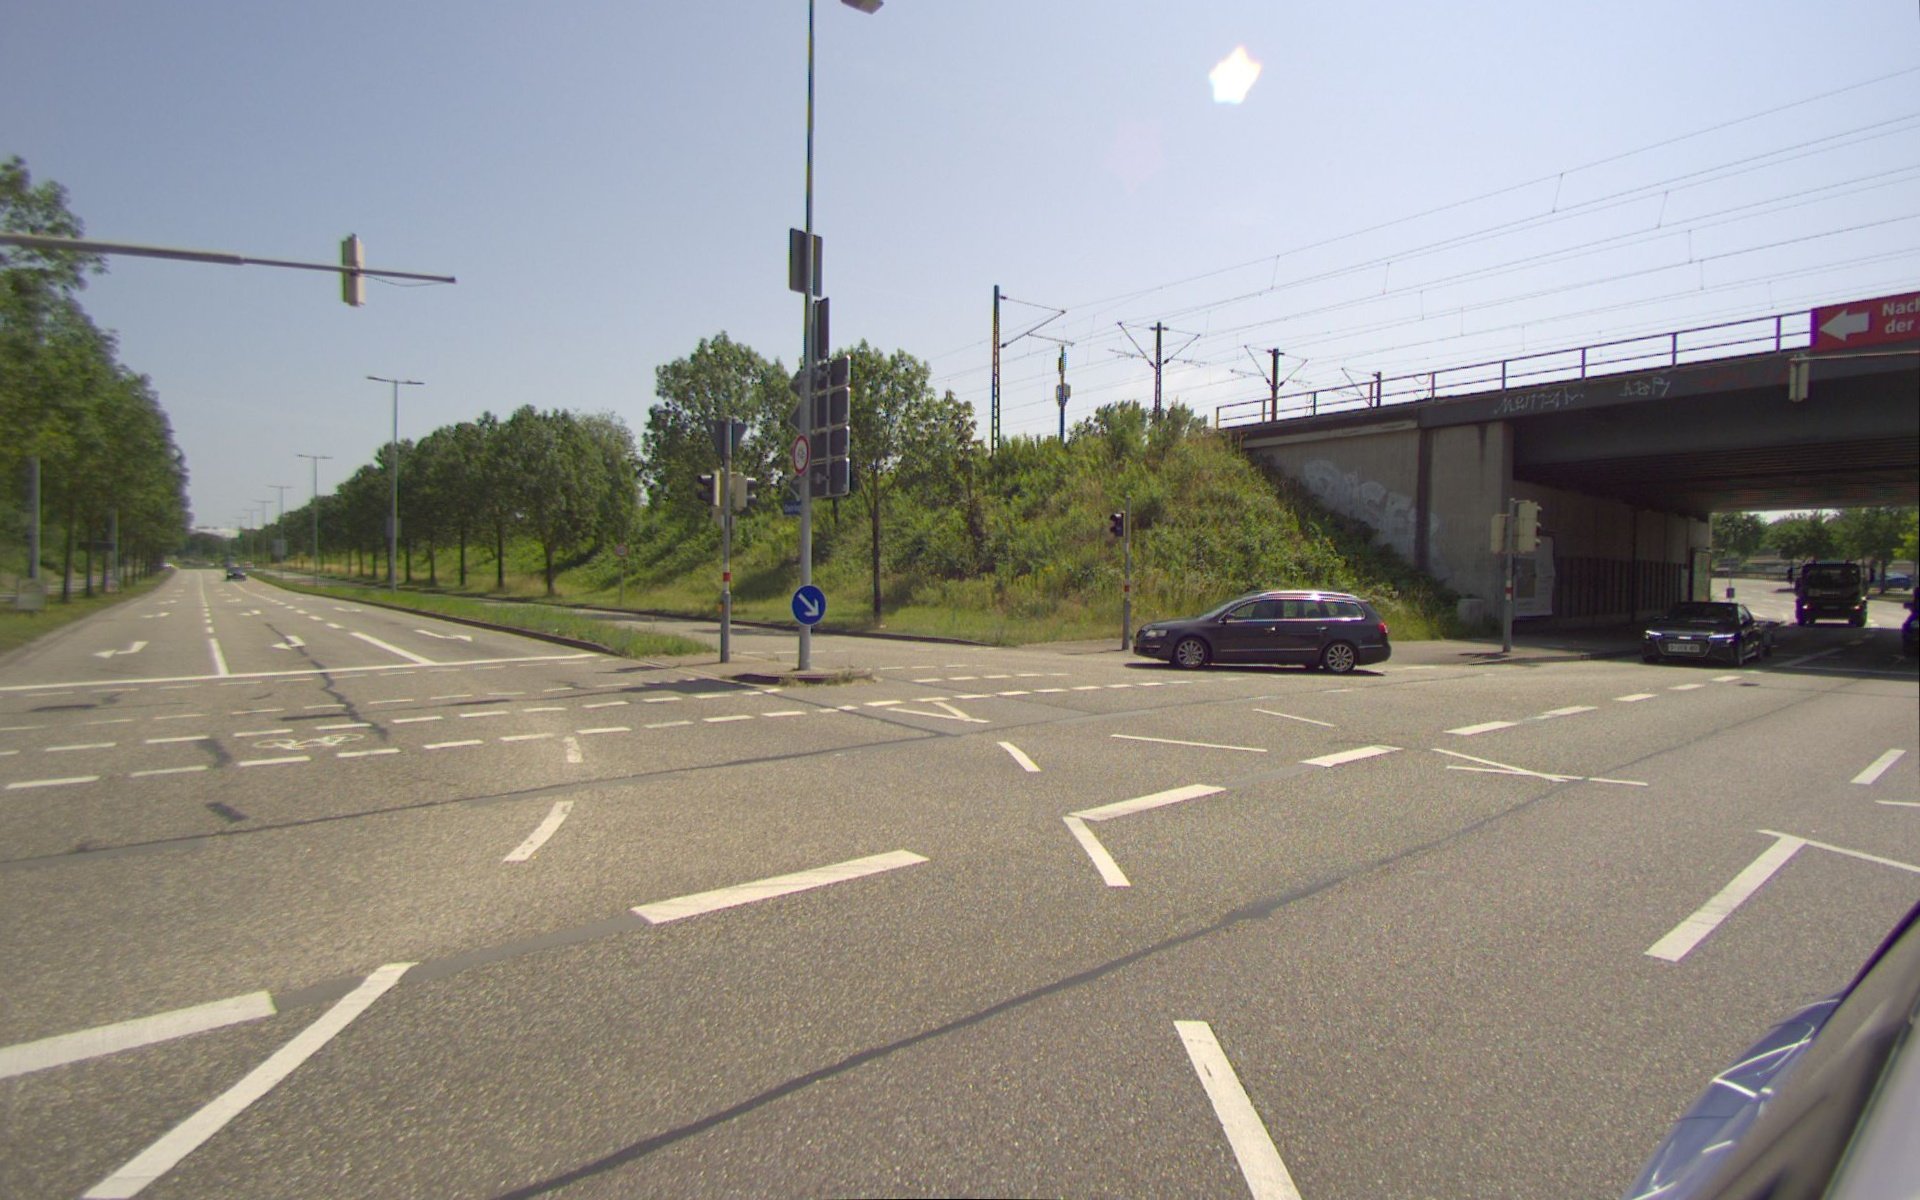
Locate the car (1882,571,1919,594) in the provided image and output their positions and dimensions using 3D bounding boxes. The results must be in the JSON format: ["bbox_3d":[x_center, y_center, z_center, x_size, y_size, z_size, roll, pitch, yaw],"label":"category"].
[{"bbox_3d":[87.975,-1.633,94.286,1.981,2.039,3.963,1,1,27],"label":"car"}]

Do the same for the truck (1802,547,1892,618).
[{"bbox_3d":[40.431,-0.766,46.339,2.874,2.952,8.393,0,0,40],"label":"truck"}]

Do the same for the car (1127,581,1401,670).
[{"bbox_3d":[5.603,0.442,19.098,4.587,1.521,1.809,1,1,2],"label":"car"}]

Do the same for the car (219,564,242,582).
[{"bbox_3d":[-87.041,-3.249,120.776,1.961,2.039,4.002,0,1,-33],"label":"car"}]

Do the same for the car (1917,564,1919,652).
[{"bbox_3d":[25.877,0.188,25.782,4.480,2.180,1.839,-1,1,-42],"label":"car"}]

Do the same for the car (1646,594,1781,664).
[{"bbox_3d":[17.082,0.583,22.885,3.837,1.407,1.806,0,1,-43],"label":"car"}]

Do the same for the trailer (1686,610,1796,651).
[{"bbox_3d":[19.726,0.753,25.506,3.769,0.954,1.677,1,-1,-44],"label":"trailer"}]
